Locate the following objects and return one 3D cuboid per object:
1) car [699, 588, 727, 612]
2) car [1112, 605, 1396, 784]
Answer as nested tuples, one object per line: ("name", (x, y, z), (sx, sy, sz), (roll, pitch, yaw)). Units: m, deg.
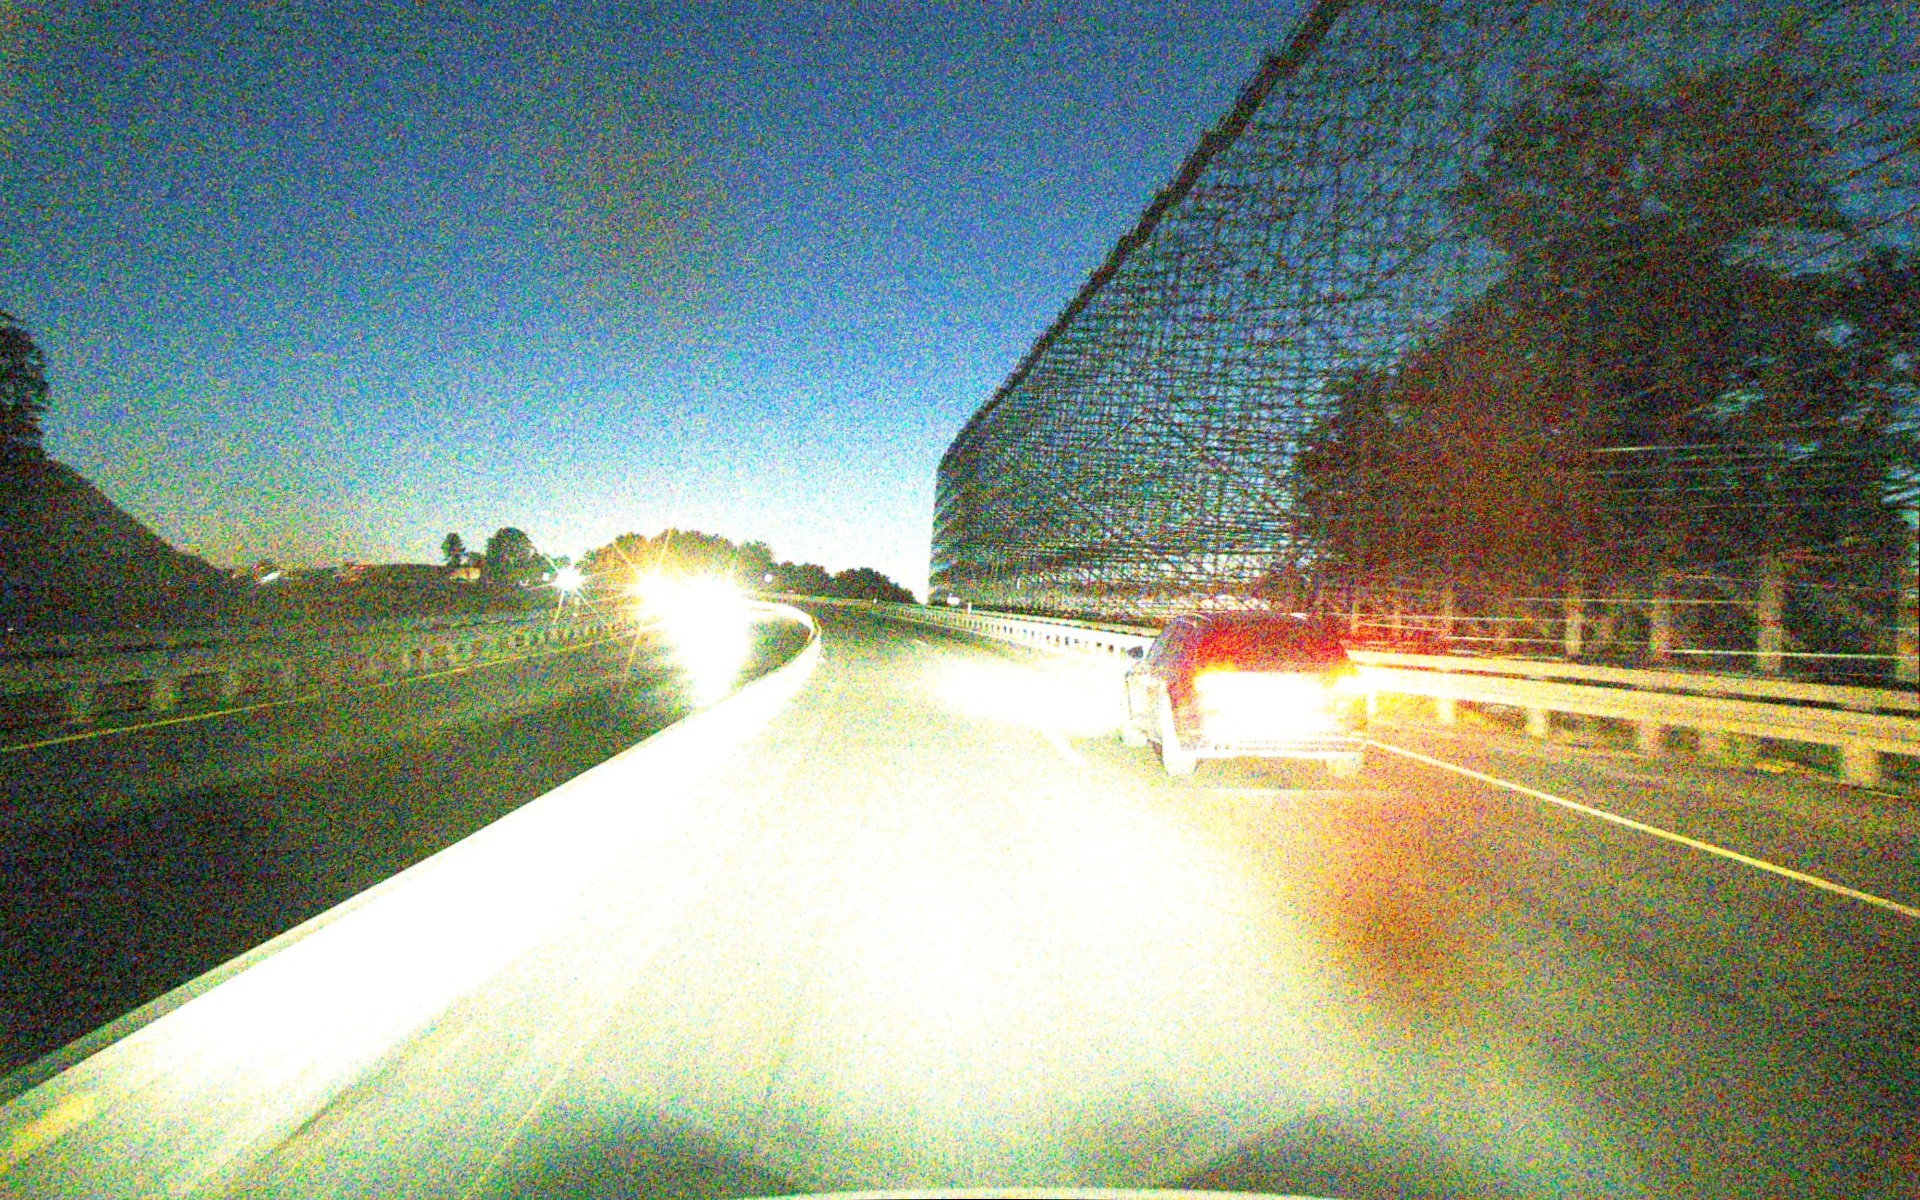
("car", (-18.375, 0.017, 122.860), (1.976, 1.668, 4.851), (1, -1, -10))
("car", (2.669, 0.794, 16.175), (1.771, 1.451, 4.873), (0, 0, -2))
